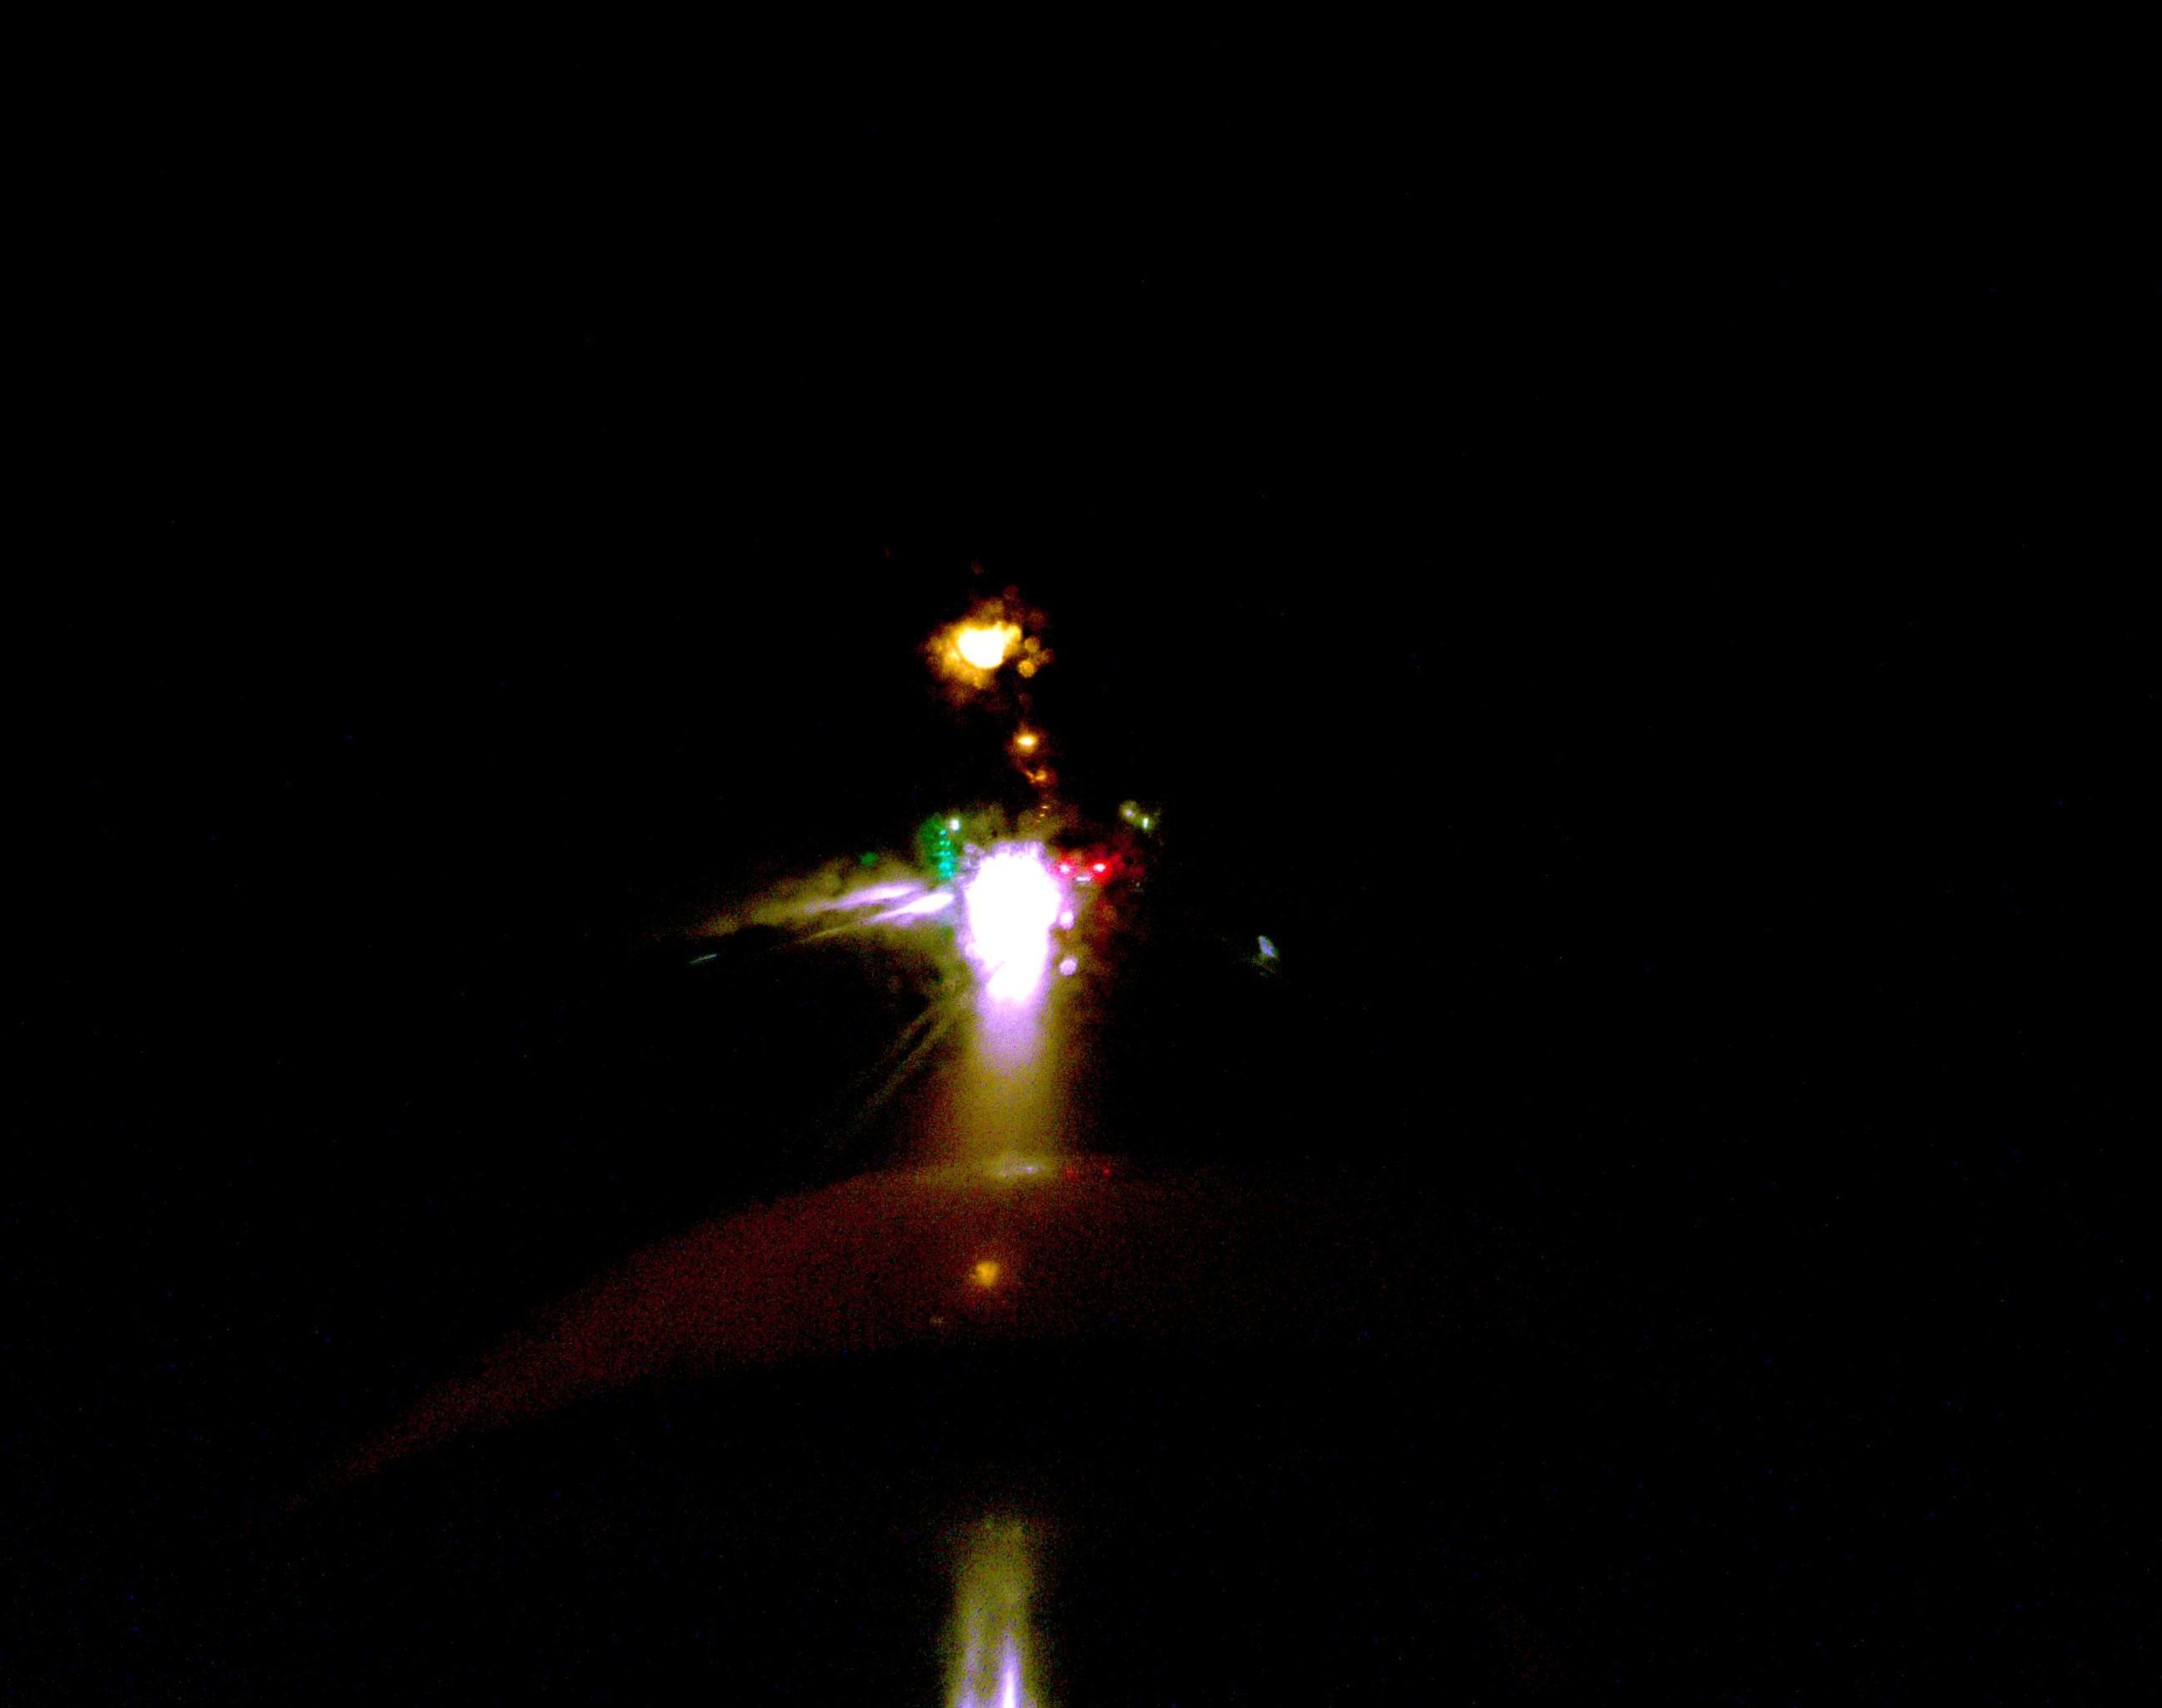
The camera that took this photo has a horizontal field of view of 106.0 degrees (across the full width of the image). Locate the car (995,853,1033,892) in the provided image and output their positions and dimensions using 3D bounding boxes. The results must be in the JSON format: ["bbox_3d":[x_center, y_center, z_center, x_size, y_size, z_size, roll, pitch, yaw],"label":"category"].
[{"bbox_3d":[-3.124,0.817,38.432,1.627,1.650,3.770,-3,0,-4],"label":"car"}]

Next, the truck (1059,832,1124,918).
[{"bbox_3d":[0.542,0.752,32.612,2.253,3.011,7.419,-1,0,2],"label":"truck"}]
